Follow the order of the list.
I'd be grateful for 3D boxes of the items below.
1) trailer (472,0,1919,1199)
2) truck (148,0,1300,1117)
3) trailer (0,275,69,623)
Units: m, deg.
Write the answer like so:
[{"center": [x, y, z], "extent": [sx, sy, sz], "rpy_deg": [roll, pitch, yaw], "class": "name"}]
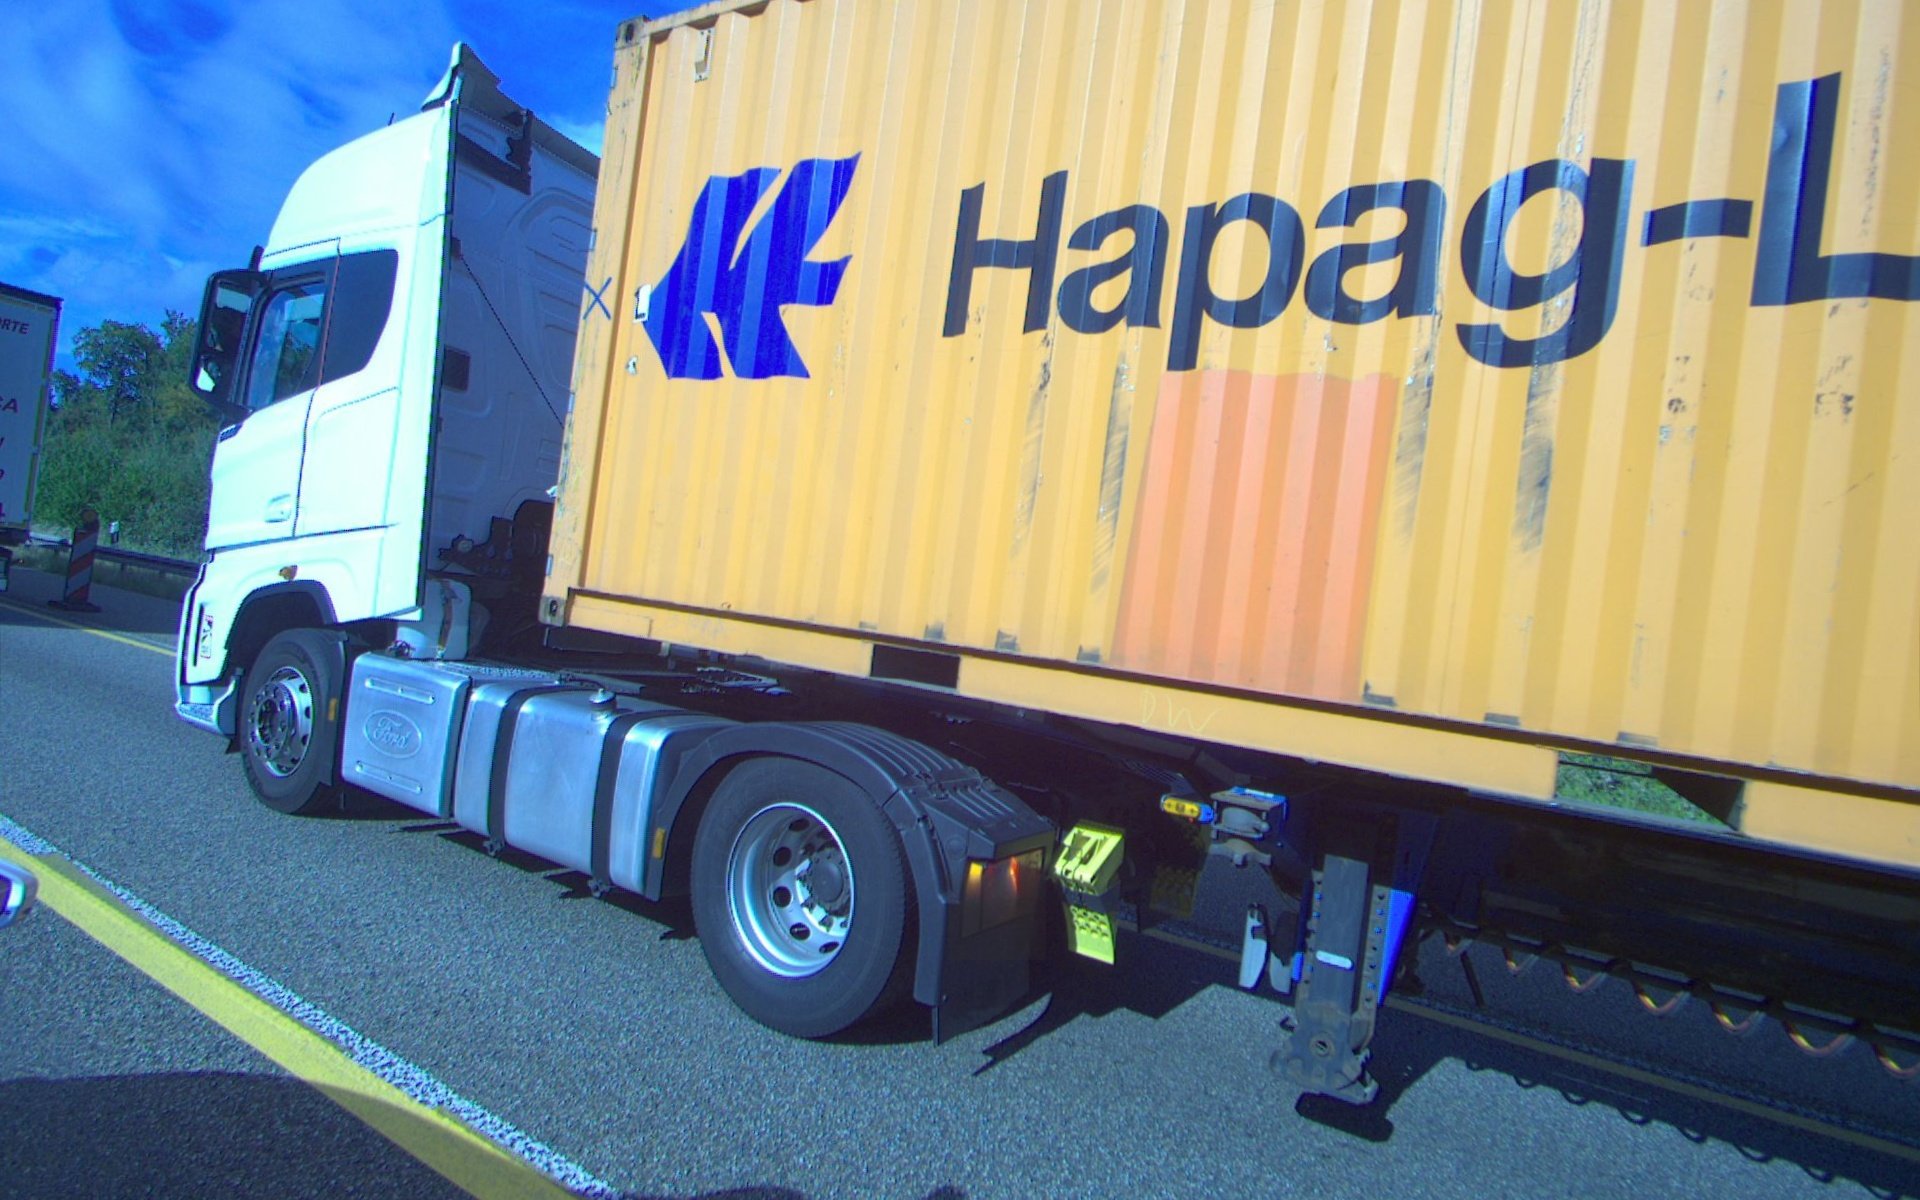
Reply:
[{"center": [3.854, 0.077, 2.221], "extent": [11.934, 3.818, 2.476], "rpy_deg": [7, -1, 31], "class": "trailer"}, {"center": [-1.538, -0.519, 5.550], "extent": [5.694, 3.825, 2.499], "rpy_deg": [6, -1, 32], "class": "truck"}, {"center": [-17.342, -2.499, 14.433], "extent": [13.193, 4.015, 2.705], "rpy_deg": [7, -1, 31], "class": "trailer"}]
